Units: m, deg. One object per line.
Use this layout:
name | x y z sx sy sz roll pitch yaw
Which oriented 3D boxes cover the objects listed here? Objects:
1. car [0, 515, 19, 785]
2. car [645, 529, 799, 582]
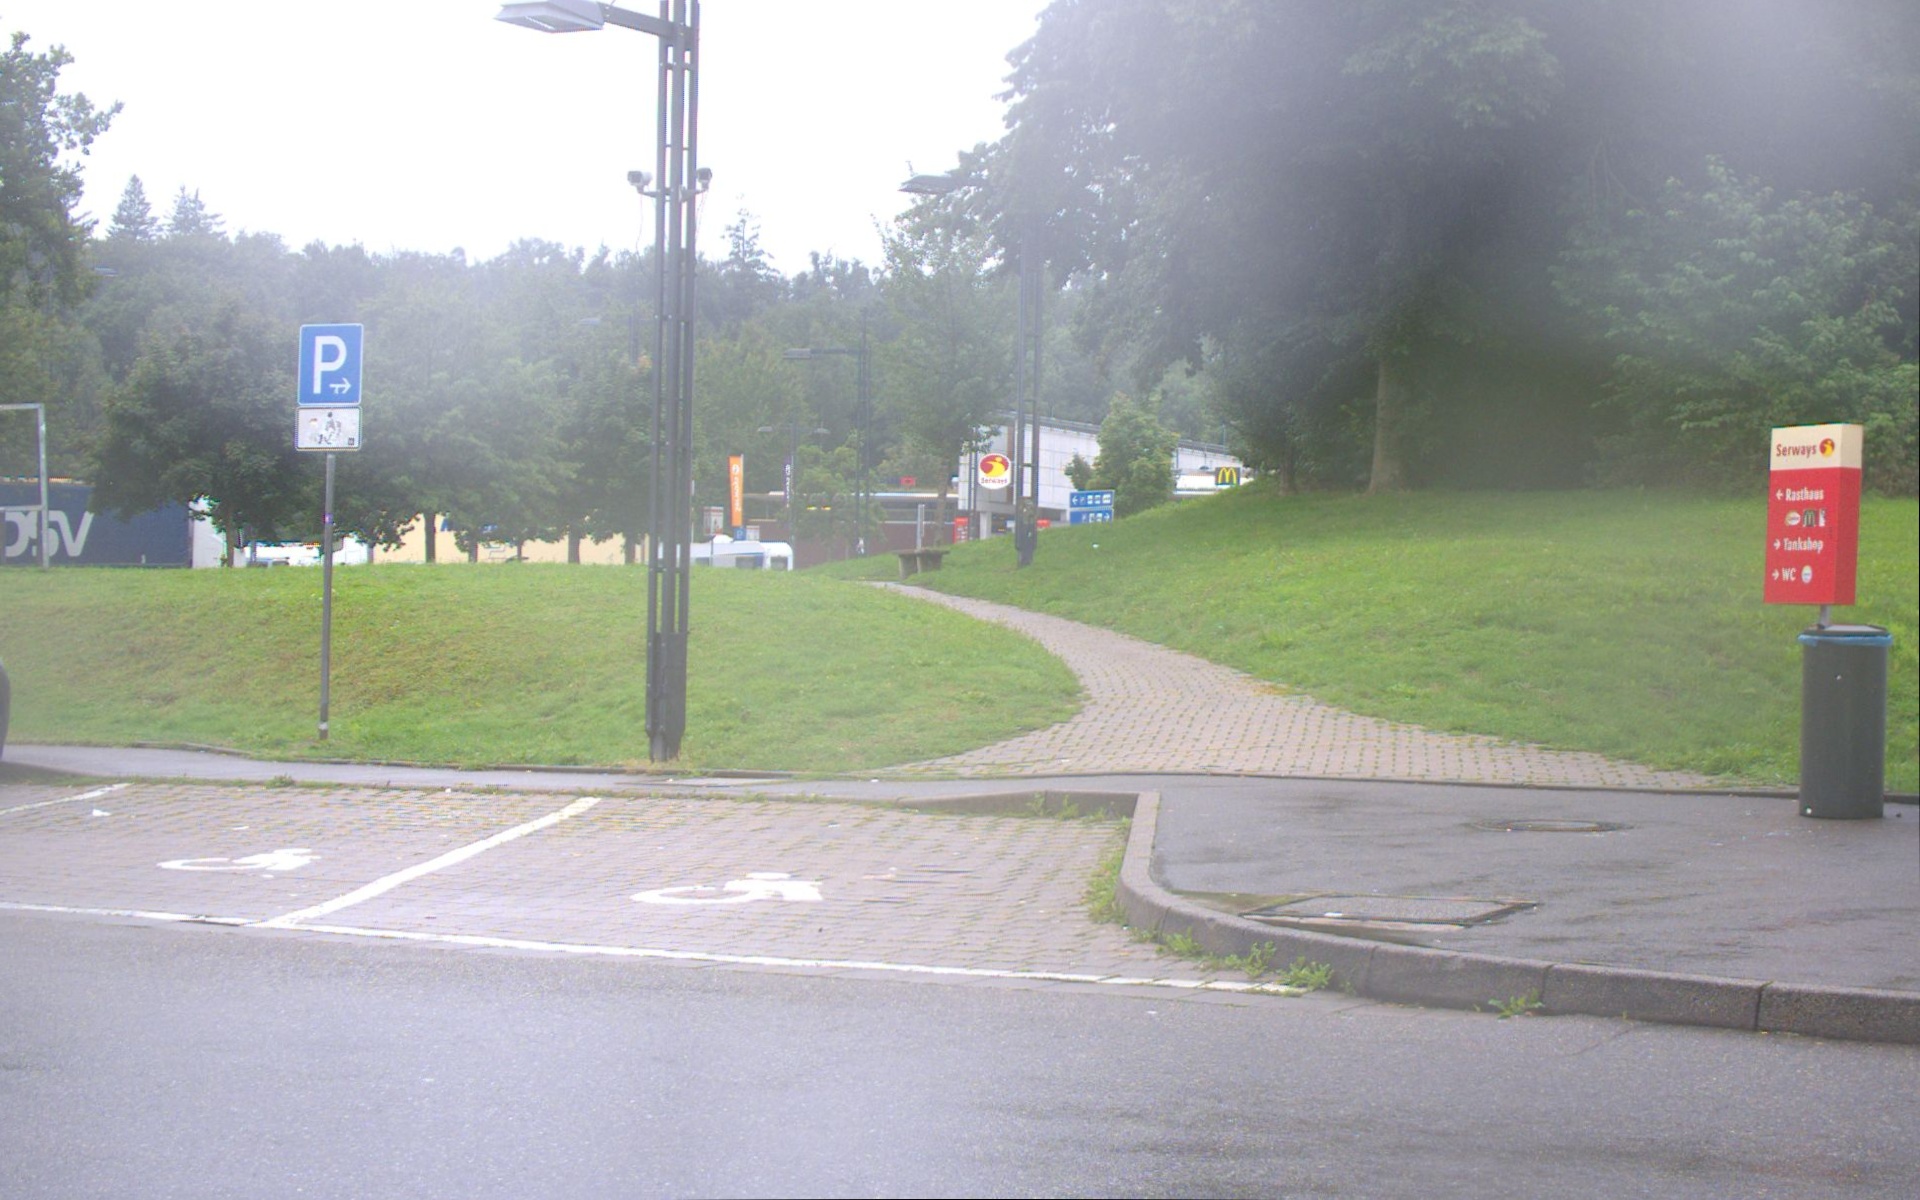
car | -7.765 0.375 21.440 1.885 1.821 4.411 0 1 11
car | -9.259 -1.731 133.768 5.429 2.007 2.453 1 1 20
